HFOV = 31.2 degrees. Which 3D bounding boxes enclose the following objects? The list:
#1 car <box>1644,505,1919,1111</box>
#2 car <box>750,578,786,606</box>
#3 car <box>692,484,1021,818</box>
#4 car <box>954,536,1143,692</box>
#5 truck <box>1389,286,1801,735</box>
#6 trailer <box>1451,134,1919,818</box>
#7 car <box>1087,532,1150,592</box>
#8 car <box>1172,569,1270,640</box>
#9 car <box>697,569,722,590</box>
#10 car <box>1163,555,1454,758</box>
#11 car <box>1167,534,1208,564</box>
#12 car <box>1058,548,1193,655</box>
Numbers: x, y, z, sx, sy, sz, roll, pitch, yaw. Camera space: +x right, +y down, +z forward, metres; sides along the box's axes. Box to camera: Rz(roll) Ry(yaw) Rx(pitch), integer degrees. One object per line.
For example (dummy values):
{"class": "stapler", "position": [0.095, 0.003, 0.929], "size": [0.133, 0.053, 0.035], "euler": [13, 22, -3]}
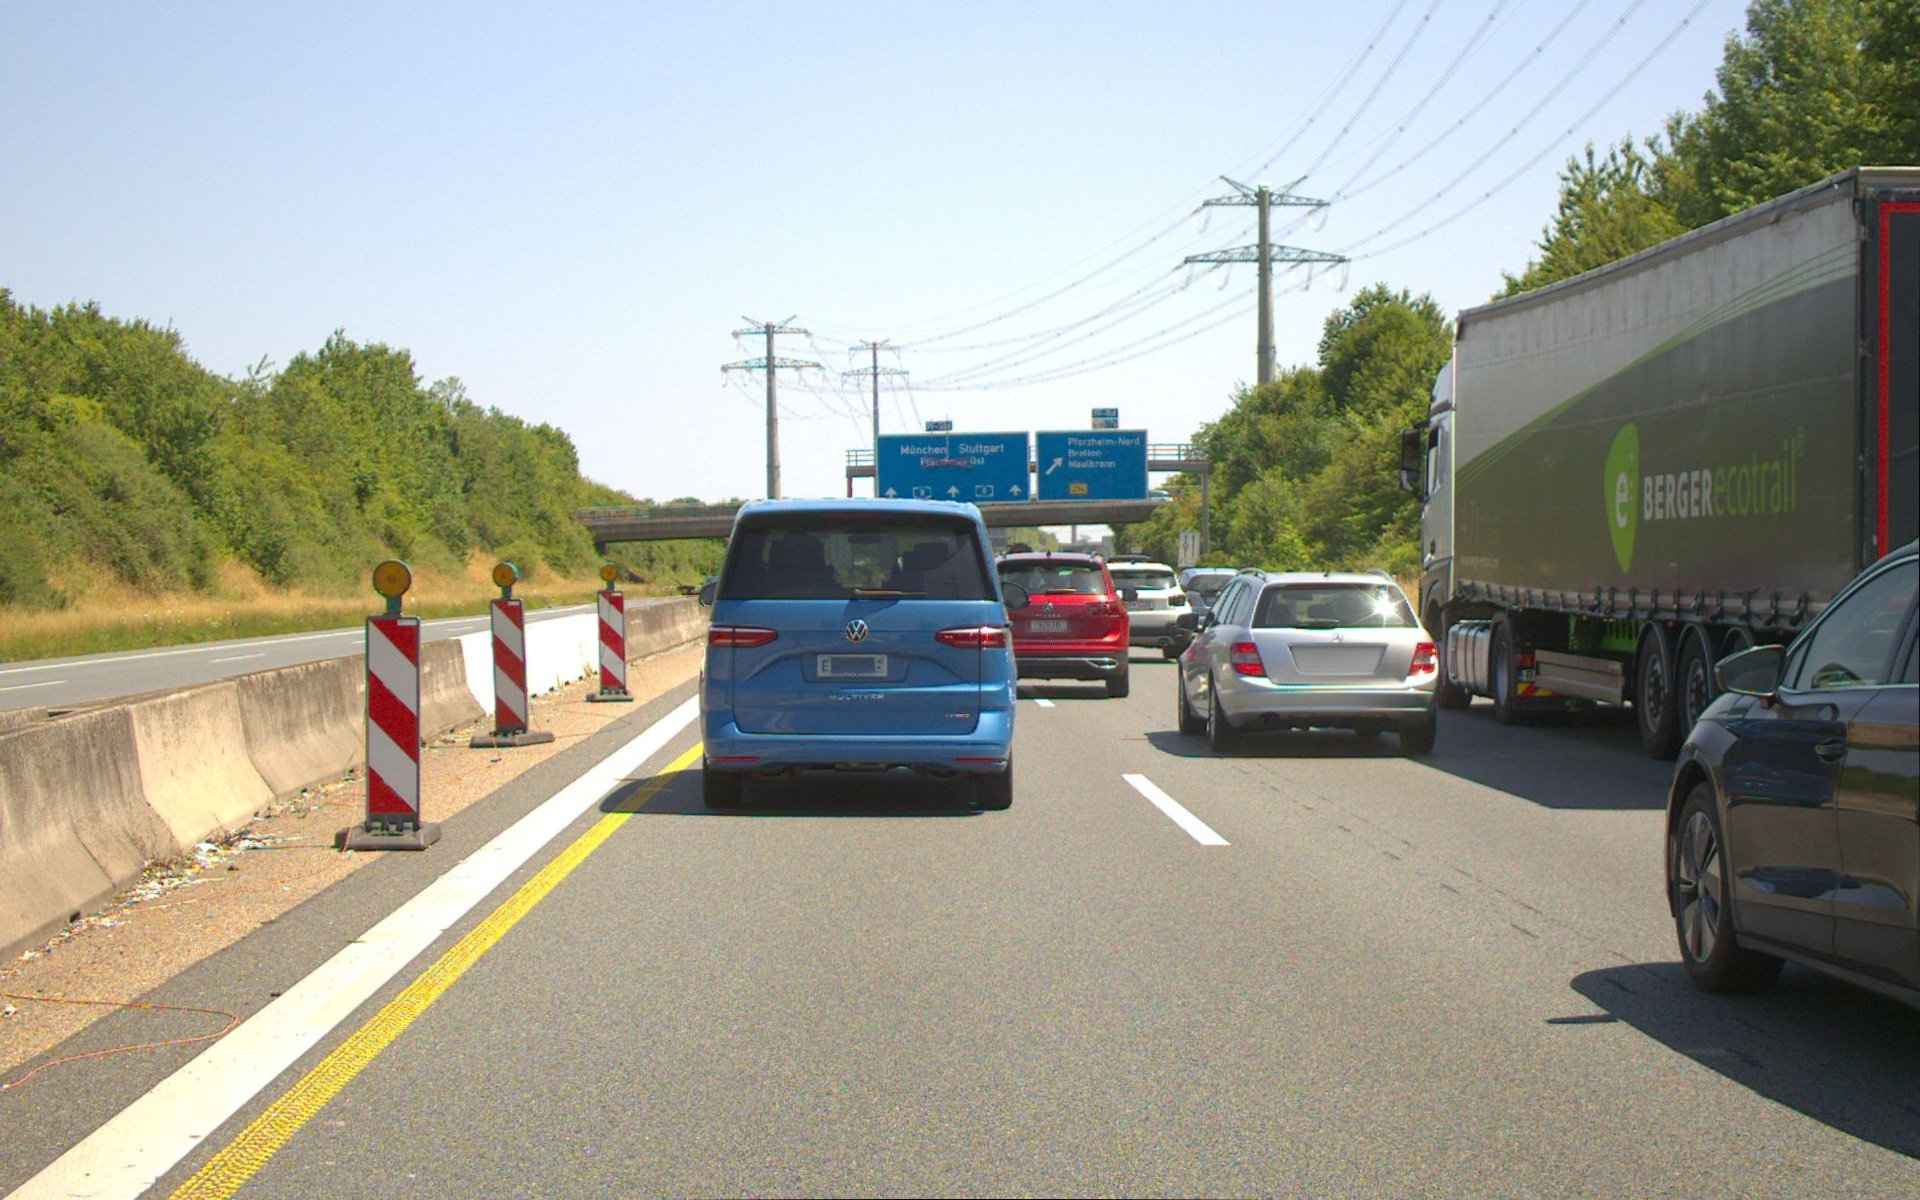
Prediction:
{"class": "car", "position": [3.439, 0.572, 10.304], "size": [1.700, 1.649, 4.430], "euler": [1, 0, -2]}
{"class": "car", "position": [-10.983, -0.472, 196.762], "size": [1.862, 1.485, 4.493], "euler": [-1, 1, -1]}
{"class": "car", "position": [-0.682, 0.280, 22.108], "size": [1.874, 1.905, 4.360], "euler": [1, 0, -2]}
{"class": "car", "position": [0.959, 0.137, 39.624], "size": [1.874, 1.665, 4.360], "euler": [1, 0, -2]}
{"class": "truck", "position": [6.141, -0.838, 34.168], "size": [2.733, 4.033, 5.794], "euler": [1, 0, -2]}
{"class": "trailer", "position": [6.409, -0.772, 26.906], "size": [2.783, 4.033, 13.113], "euler": [1, 0, -2]}
{"class": "car", "position": [5.402, -1.294, 117.536], "size": [1.797, 2.007, 4.227], "euler": [1, 0, -2]}
{"class": "car", "position": [5.564, 0.083, 73.547], "size": [1.700, 1.443, 3.788], "euler": [1, 0, -1]}
{"class": "car", "position": [-18.511, -1.517, 254.290], "size": [1.708, 1.459, 3.850], "euler": [-2, 1, -2]}
{"class": "car", "position": [2.785, 0.412, 28.371], "size": [1.770, 1.512, 4.360], "euler": [1, 0, -2]}
{"class": "car", "position": [13.062, -2.937, 197.948], "size": [1.874, 1.665, 4.360], "euler": [1, 0, -2]}
{"class": "car", "position": [2.561, 0.000, 54.039], "size": [1.797, 1.588, 4.227], "euler": [1, 0, -1]}
